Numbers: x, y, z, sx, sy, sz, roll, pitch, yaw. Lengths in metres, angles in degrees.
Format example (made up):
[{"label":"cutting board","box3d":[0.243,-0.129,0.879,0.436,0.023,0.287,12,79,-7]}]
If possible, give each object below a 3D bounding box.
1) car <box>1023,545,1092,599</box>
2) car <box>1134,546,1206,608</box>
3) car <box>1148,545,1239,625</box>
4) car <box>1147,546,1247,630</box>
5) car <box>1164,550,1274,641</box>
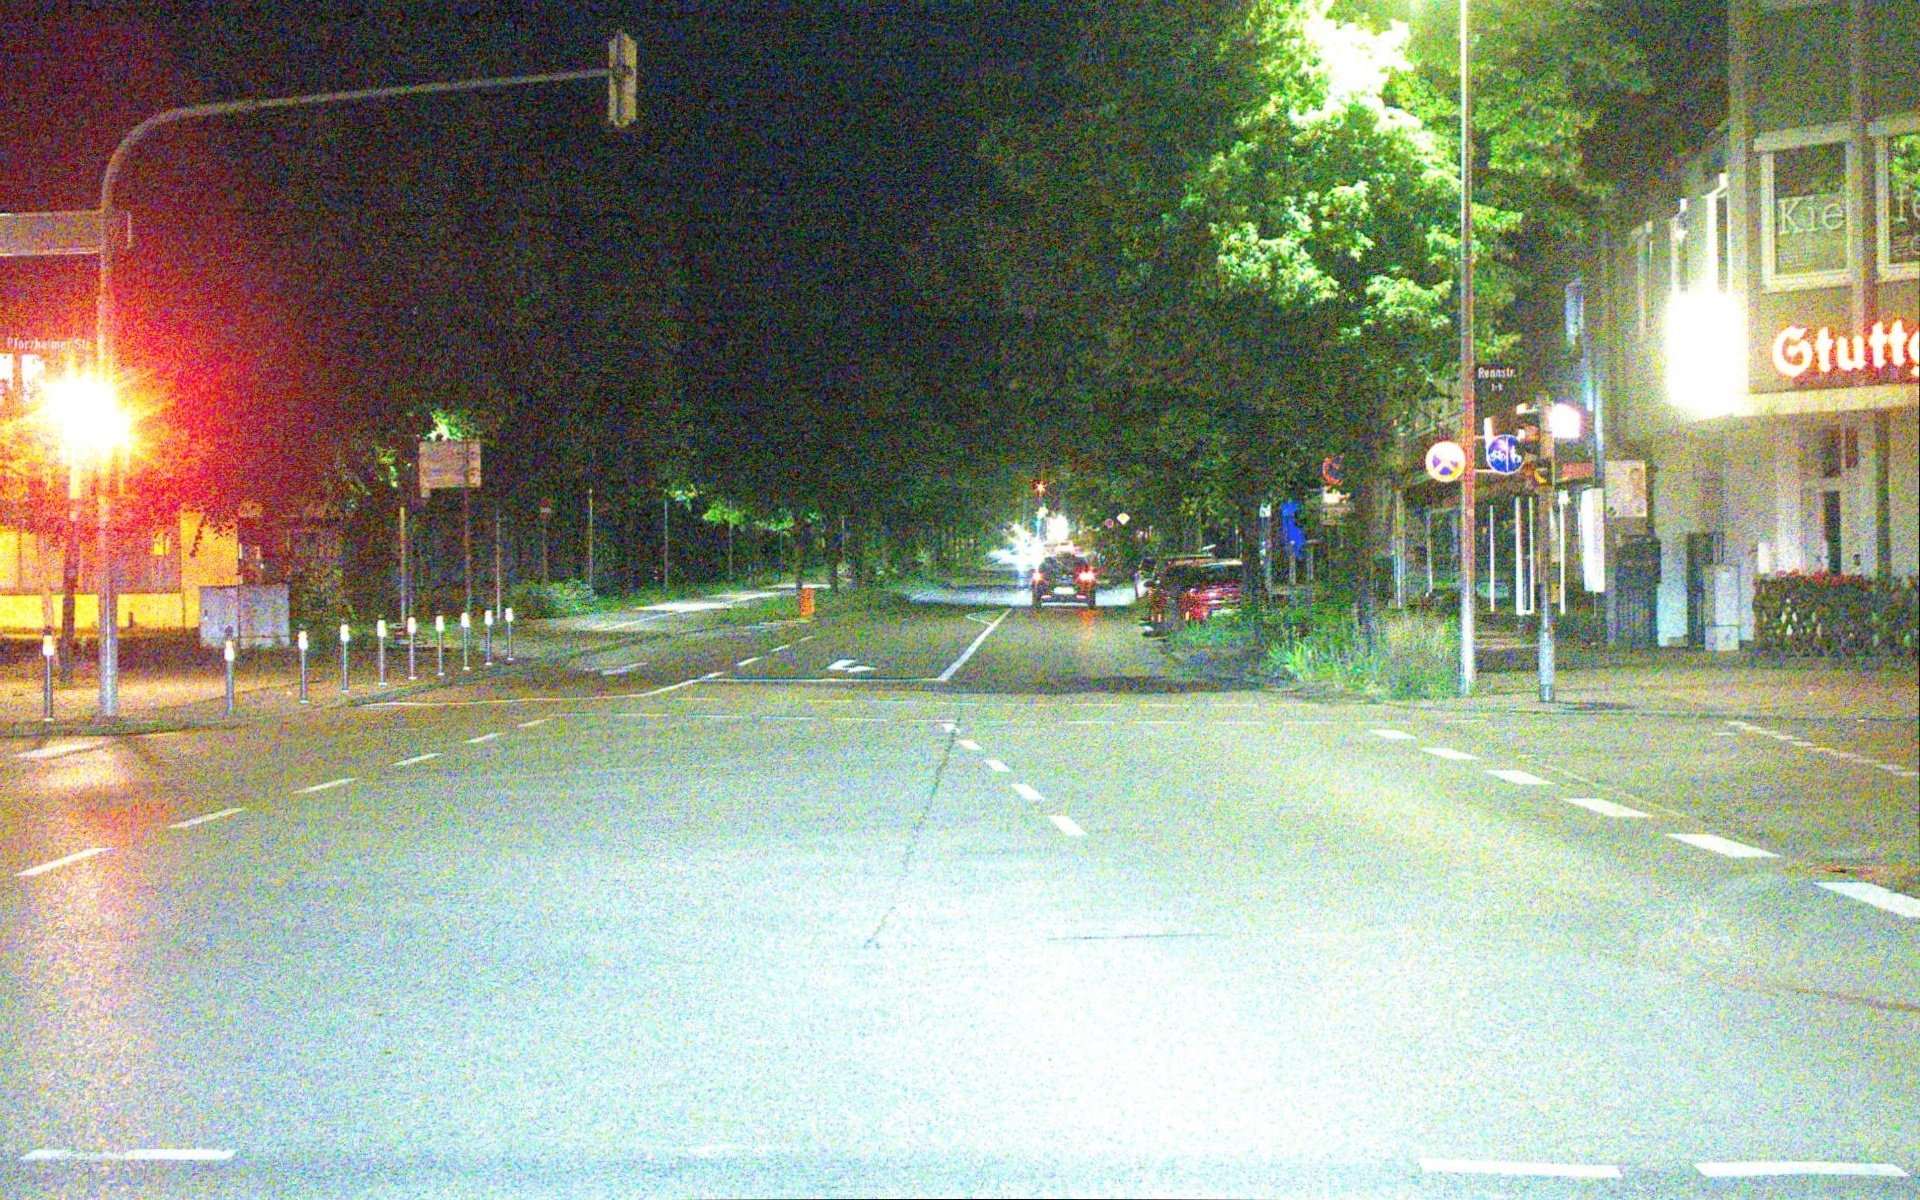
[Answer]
[{"label":"car","box3d":[2.740,-0.783,96.664,1.874,1.449,4.316,1,1,2]},{"label":"car","box3d":[5.751,-0.640,94.499,1.876,1.678,4.000,0,1,2]},{"label":"car","box3d":[5.168,-0.340,76.474,1.876,1.723,4.000,0,1,2]},{"label":"car","box3d":[4.708,-0.259,68.803,1.876,1.610,4.000,0,1,2]},{"label":"car","box3d":[4.762,-0.098,63.579,1.876,1.610,4.000,0,1,2]}]
